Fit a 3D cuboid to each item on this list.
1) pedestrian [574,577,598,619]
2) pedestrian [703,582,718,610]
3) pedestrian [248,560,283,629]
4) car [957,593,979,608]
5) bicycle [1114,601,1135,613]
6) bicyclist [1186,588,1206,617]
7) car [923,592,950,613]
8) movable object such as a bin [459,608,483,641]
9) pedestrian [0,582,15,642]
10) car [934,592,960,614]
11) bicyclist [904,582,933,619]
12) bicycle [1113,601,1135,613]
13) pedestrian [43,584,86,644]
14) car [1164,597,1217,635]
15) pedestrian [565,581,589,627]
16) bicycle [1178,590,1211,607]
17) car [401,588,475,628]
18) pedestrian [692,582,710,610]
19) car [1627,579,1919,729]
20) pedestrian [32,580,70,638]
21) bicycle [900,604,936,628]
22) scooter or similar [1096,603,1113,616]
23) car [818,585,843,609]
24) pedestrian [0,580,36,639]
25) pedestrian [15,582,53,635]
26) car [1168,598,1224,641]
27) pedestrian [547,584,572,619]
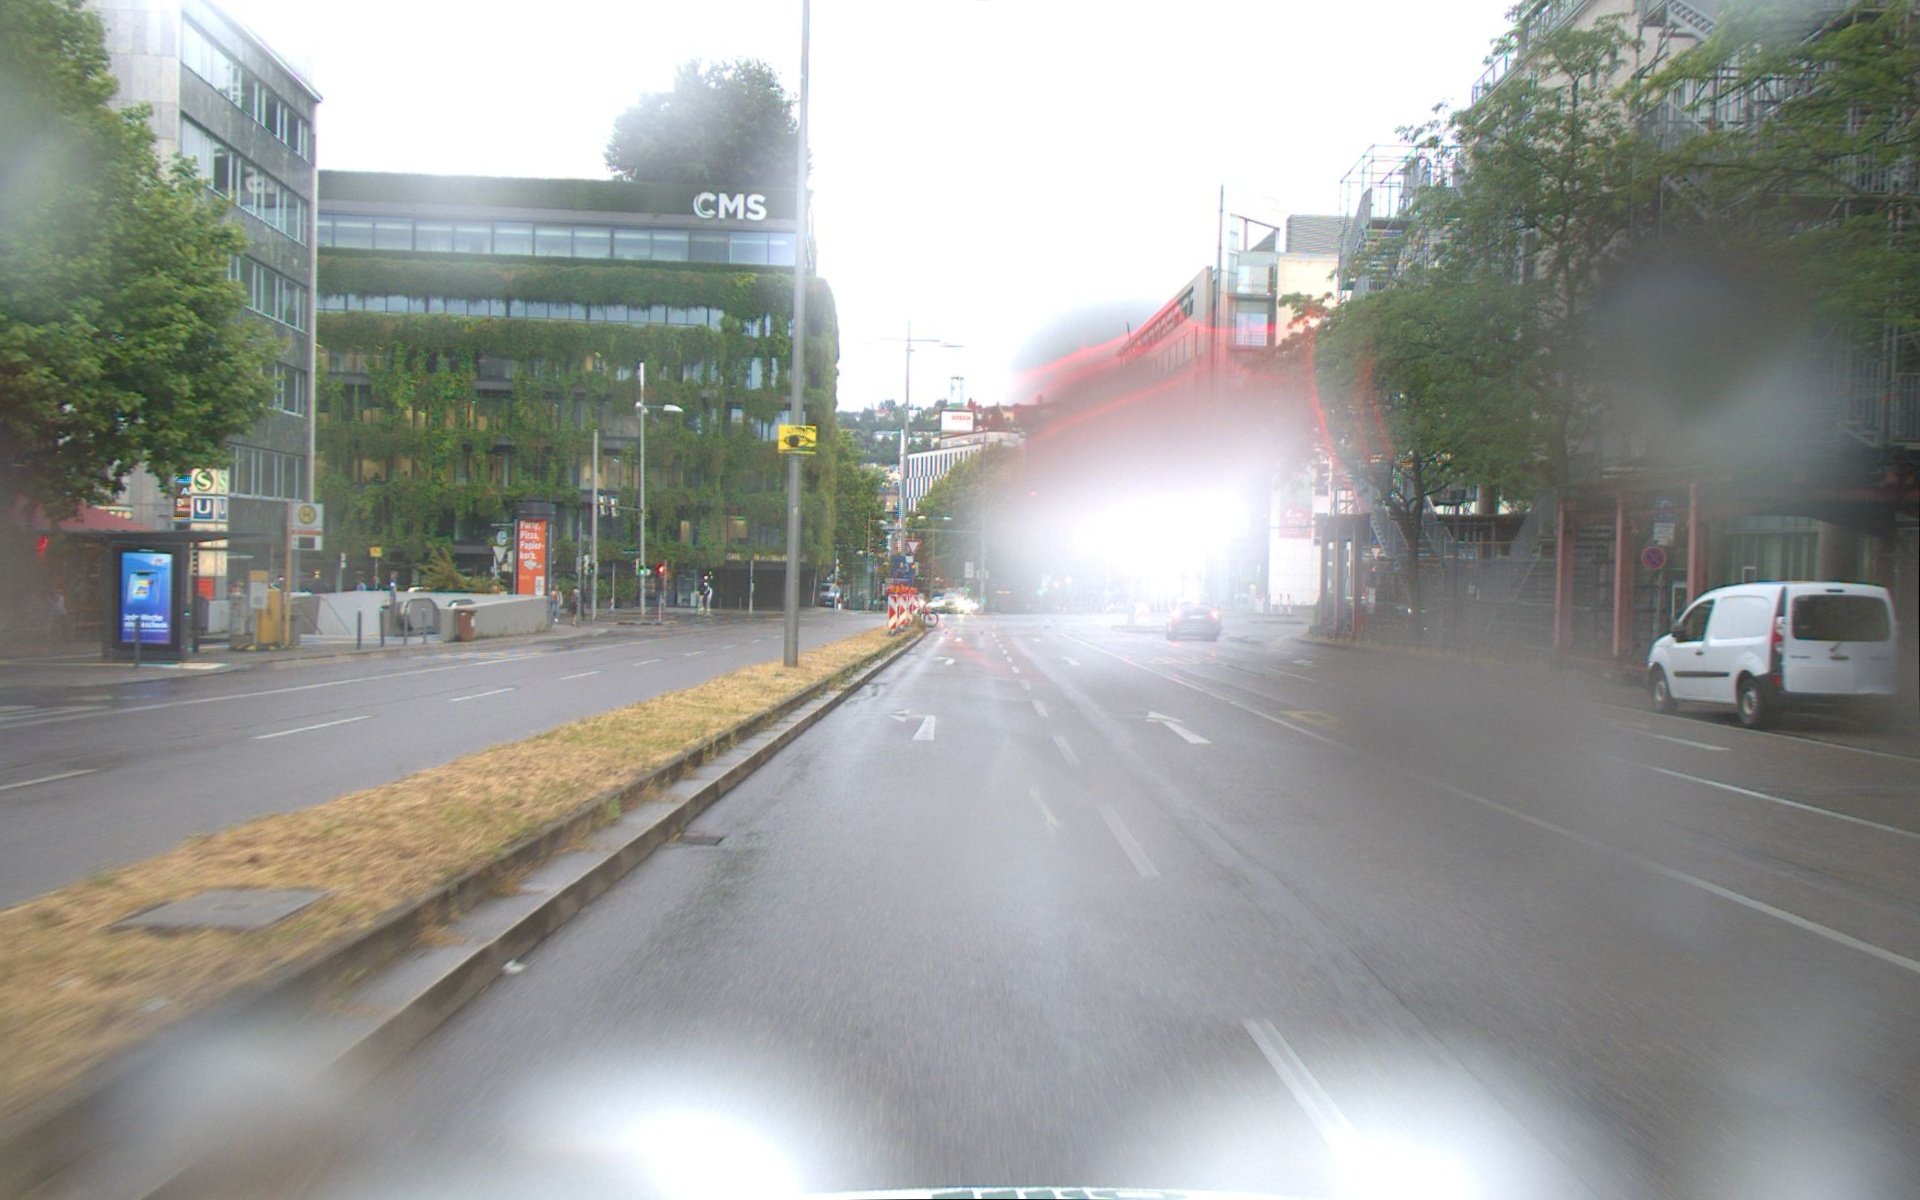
[{"bbox_3d":[-17.515,-0.098,77.502,0.877,1.918,0.786,-3,0,-4],"label":"pedestrian"},{"bbox_3d":[-16.214,-0.274,107.499,0.731,1.788,0.969,1,0,-23],"label":"pedestrian"},{"bbox_3d":[-19.623,-0.153,46.749,0.675,1.918,0.758,1,0,-4],"label":"pedestrian"},{"bbox_3d":[0.804,0.048,166.362,1.953,1.469,4.553,0,0,-3],"label":"car"},{"bbox_3d":[13.010,0.545,130.836,1.768,0.950,0.472,1,0,42],"label":"bicycle"},{"bbox_3d":[16.044,0.164,112.437,0.786,2.009,1.098,1,0,-40],"label":"bicyclist"},{"bbox_3d":[-2.233,0.232,156.198,2.133,1.855,4.639,1,0,-5],"label":"car"},{"bbox_3d":[-13.698,0.690,46.332,0.521,0.913,0.681,-1,0,-9],"label":"movable object such as a bin"},{"bbox_3d":[-23.813,0.281,40.758,0.675,1.476,0.583,1,0,-3],"label":"pedestrian"},{"bbox_3d":[-1.007,0.211,124.991,1.953,1.577,4.555,1,0,-1],"label":"car"},{"bbox_3d":[-1.910,0.017,76.837,0.829,1.734,1.298,0,0,25],"label":"bicyclist"},{"bbox_3d":[13.632,0.592,137.512,1.757,0.950,0.475,1,0,3],"label":"bicycle"},{"bbox_3d":[-22.157,0.347,40.950,0.675,1.476,0.707,1,0,-4],"label":"pedestrian"},{"bbox_3d":[9.924,0.671,70.854,1.667,1.556,4.430,1,0,16],"label":"car"},{"bbox_3d":[-16.695,0.173,72.099,0.790,1.918,0.865,-3,0,-6],"label":"pedestrian"},{"bbox_3d":[15.961,-0.133,112.578,0.786,1.136,2.223,1,0,-40],"label":"bicycle"},{"bbox_3d":[-26.615,0.406,84.471,3.388,1.955,1.994,1,0,-12],"label":"car"},{"bbox_3d":[-16.828,-0.259,107.350,0.922,1.788,1.164,1,0,-23],"label":"pedestrian"},{"bbox_3d":[10.771,0.642,22.071,1.952,1.780,4.527,1,0,1],"label":"car"},{"bbox_3d":[-23.722,0.229,43.181,0.620,1.476,0.690,1,0,-6],"label":"pedestrian"},{"bbox_3d":[-1.938,0.736,76.817,0.828,1.122,2.151,1,0,24],"label":"bicycle"},{"bbox_3d":[11.131,0.728,127.112,0.548,1.024,1.811,0,0,-23],"label":"scooter or similar"},{"bbox_3d":[-10.560,-0.269,135.183,1.954,1.928,4.462,1,0,-4],"label":"car"},{"bbox_3d":[-23.888,0.229,41.803,0.712,1.476,0.690,1,0,-6],"label":"pedestrian"},{"bbox_3d":[-24.641,0.224,44.019,0.620,1.380,0.690,1,0,-6],"label":"pedestrian"},{"bbox_3d":[9.047,0.737,63.597,1.741,1.567,4.148,1,0,3],"label":"car"},{"bbox_3d":[-18.780,0.062,77.511,0.814,1.613,0.923,-3,0,5],"label":"pedestrian"}]
